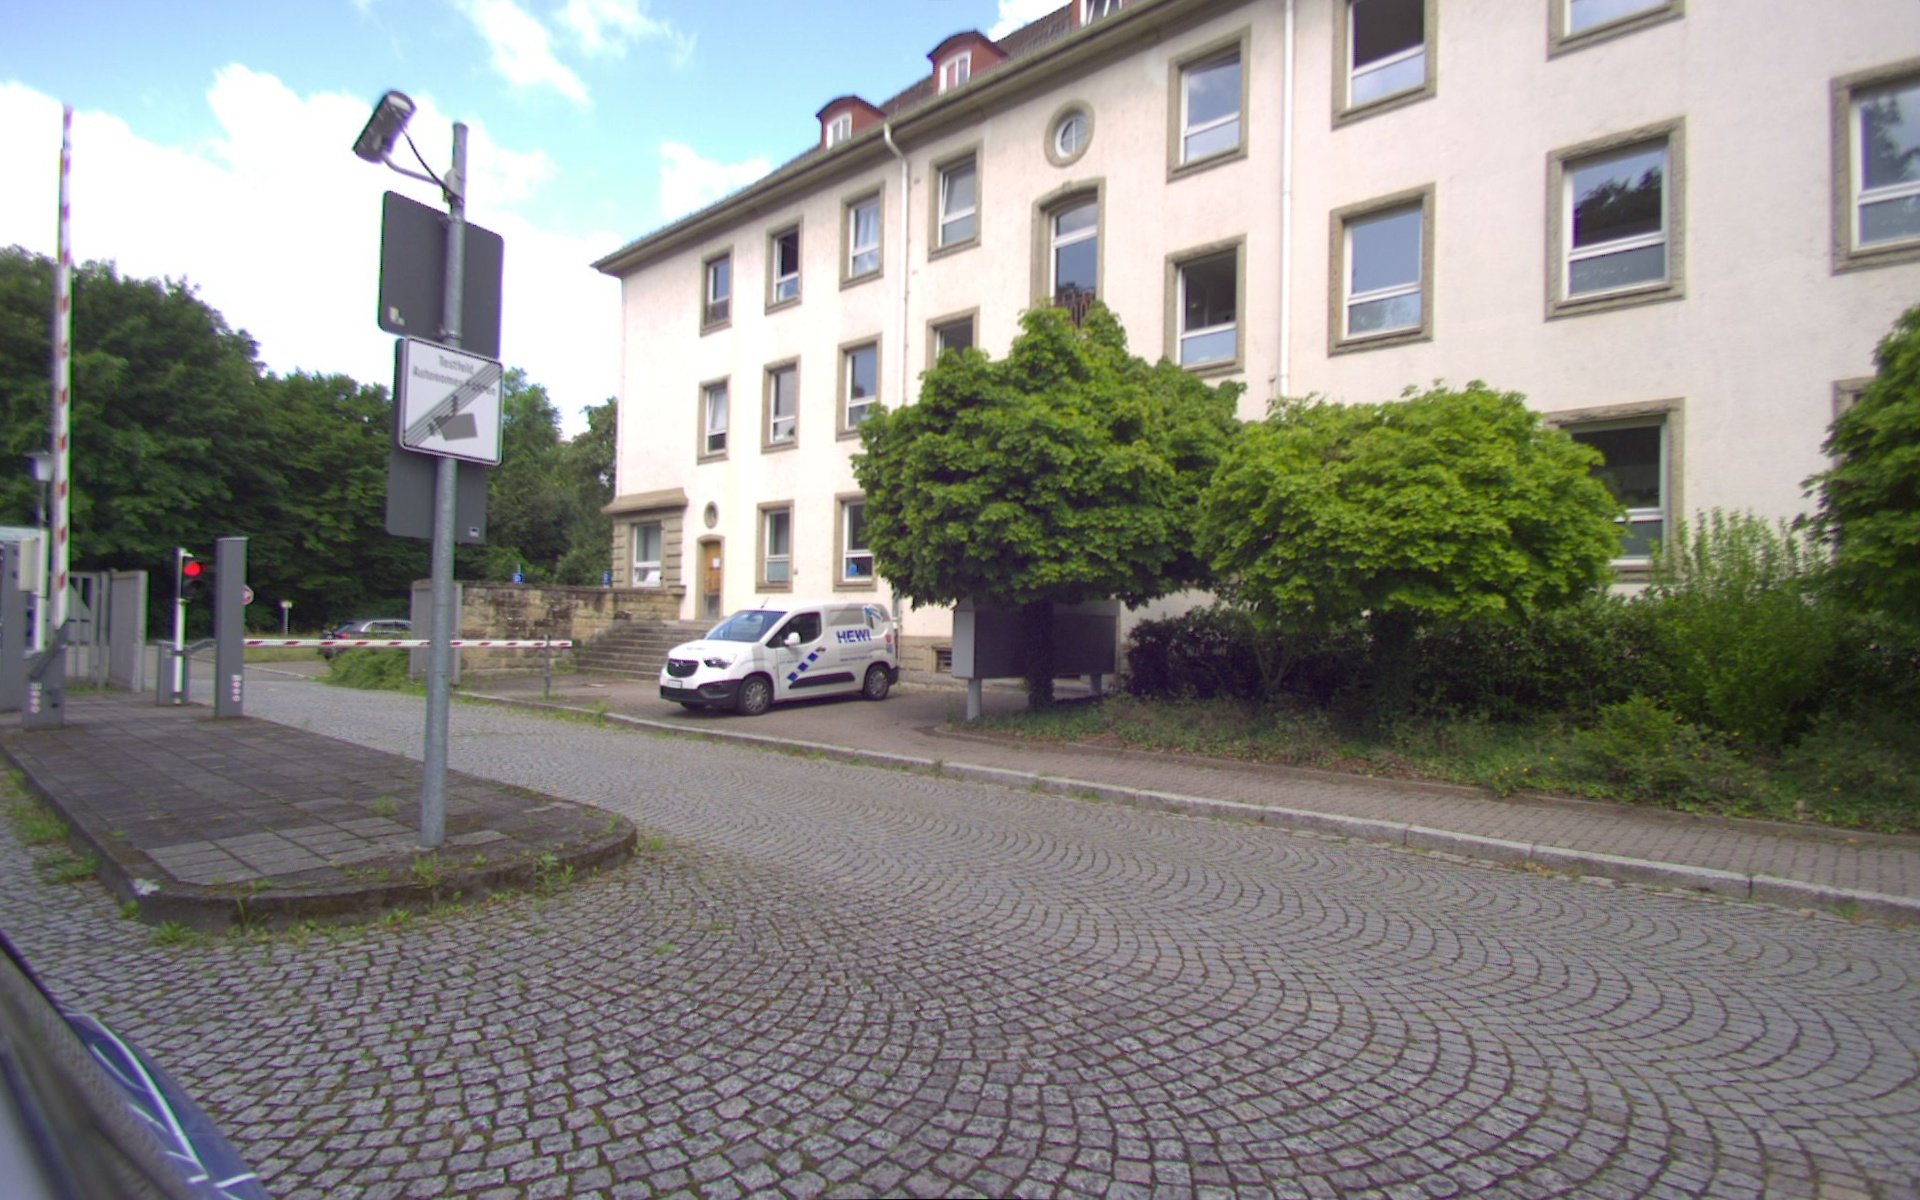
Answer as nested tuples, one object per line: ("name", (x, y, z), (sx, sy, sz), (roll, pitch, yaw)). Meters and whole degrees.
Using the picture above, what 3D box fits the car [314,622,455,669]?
("car", (-19.905, 1.526, 35.059), (3.938, 1.529, 1.804), (2, -2, -42))

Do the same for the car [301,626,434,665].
("car", (-21.908, 1.647, 37.487), (3.938, 1.356, 1.804), (2, -2, -42))

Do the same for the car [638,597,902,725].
("car", (-3.108, 0.904, 17.284), (1.819, 1.819, 4.258), (0, 1, 39))
